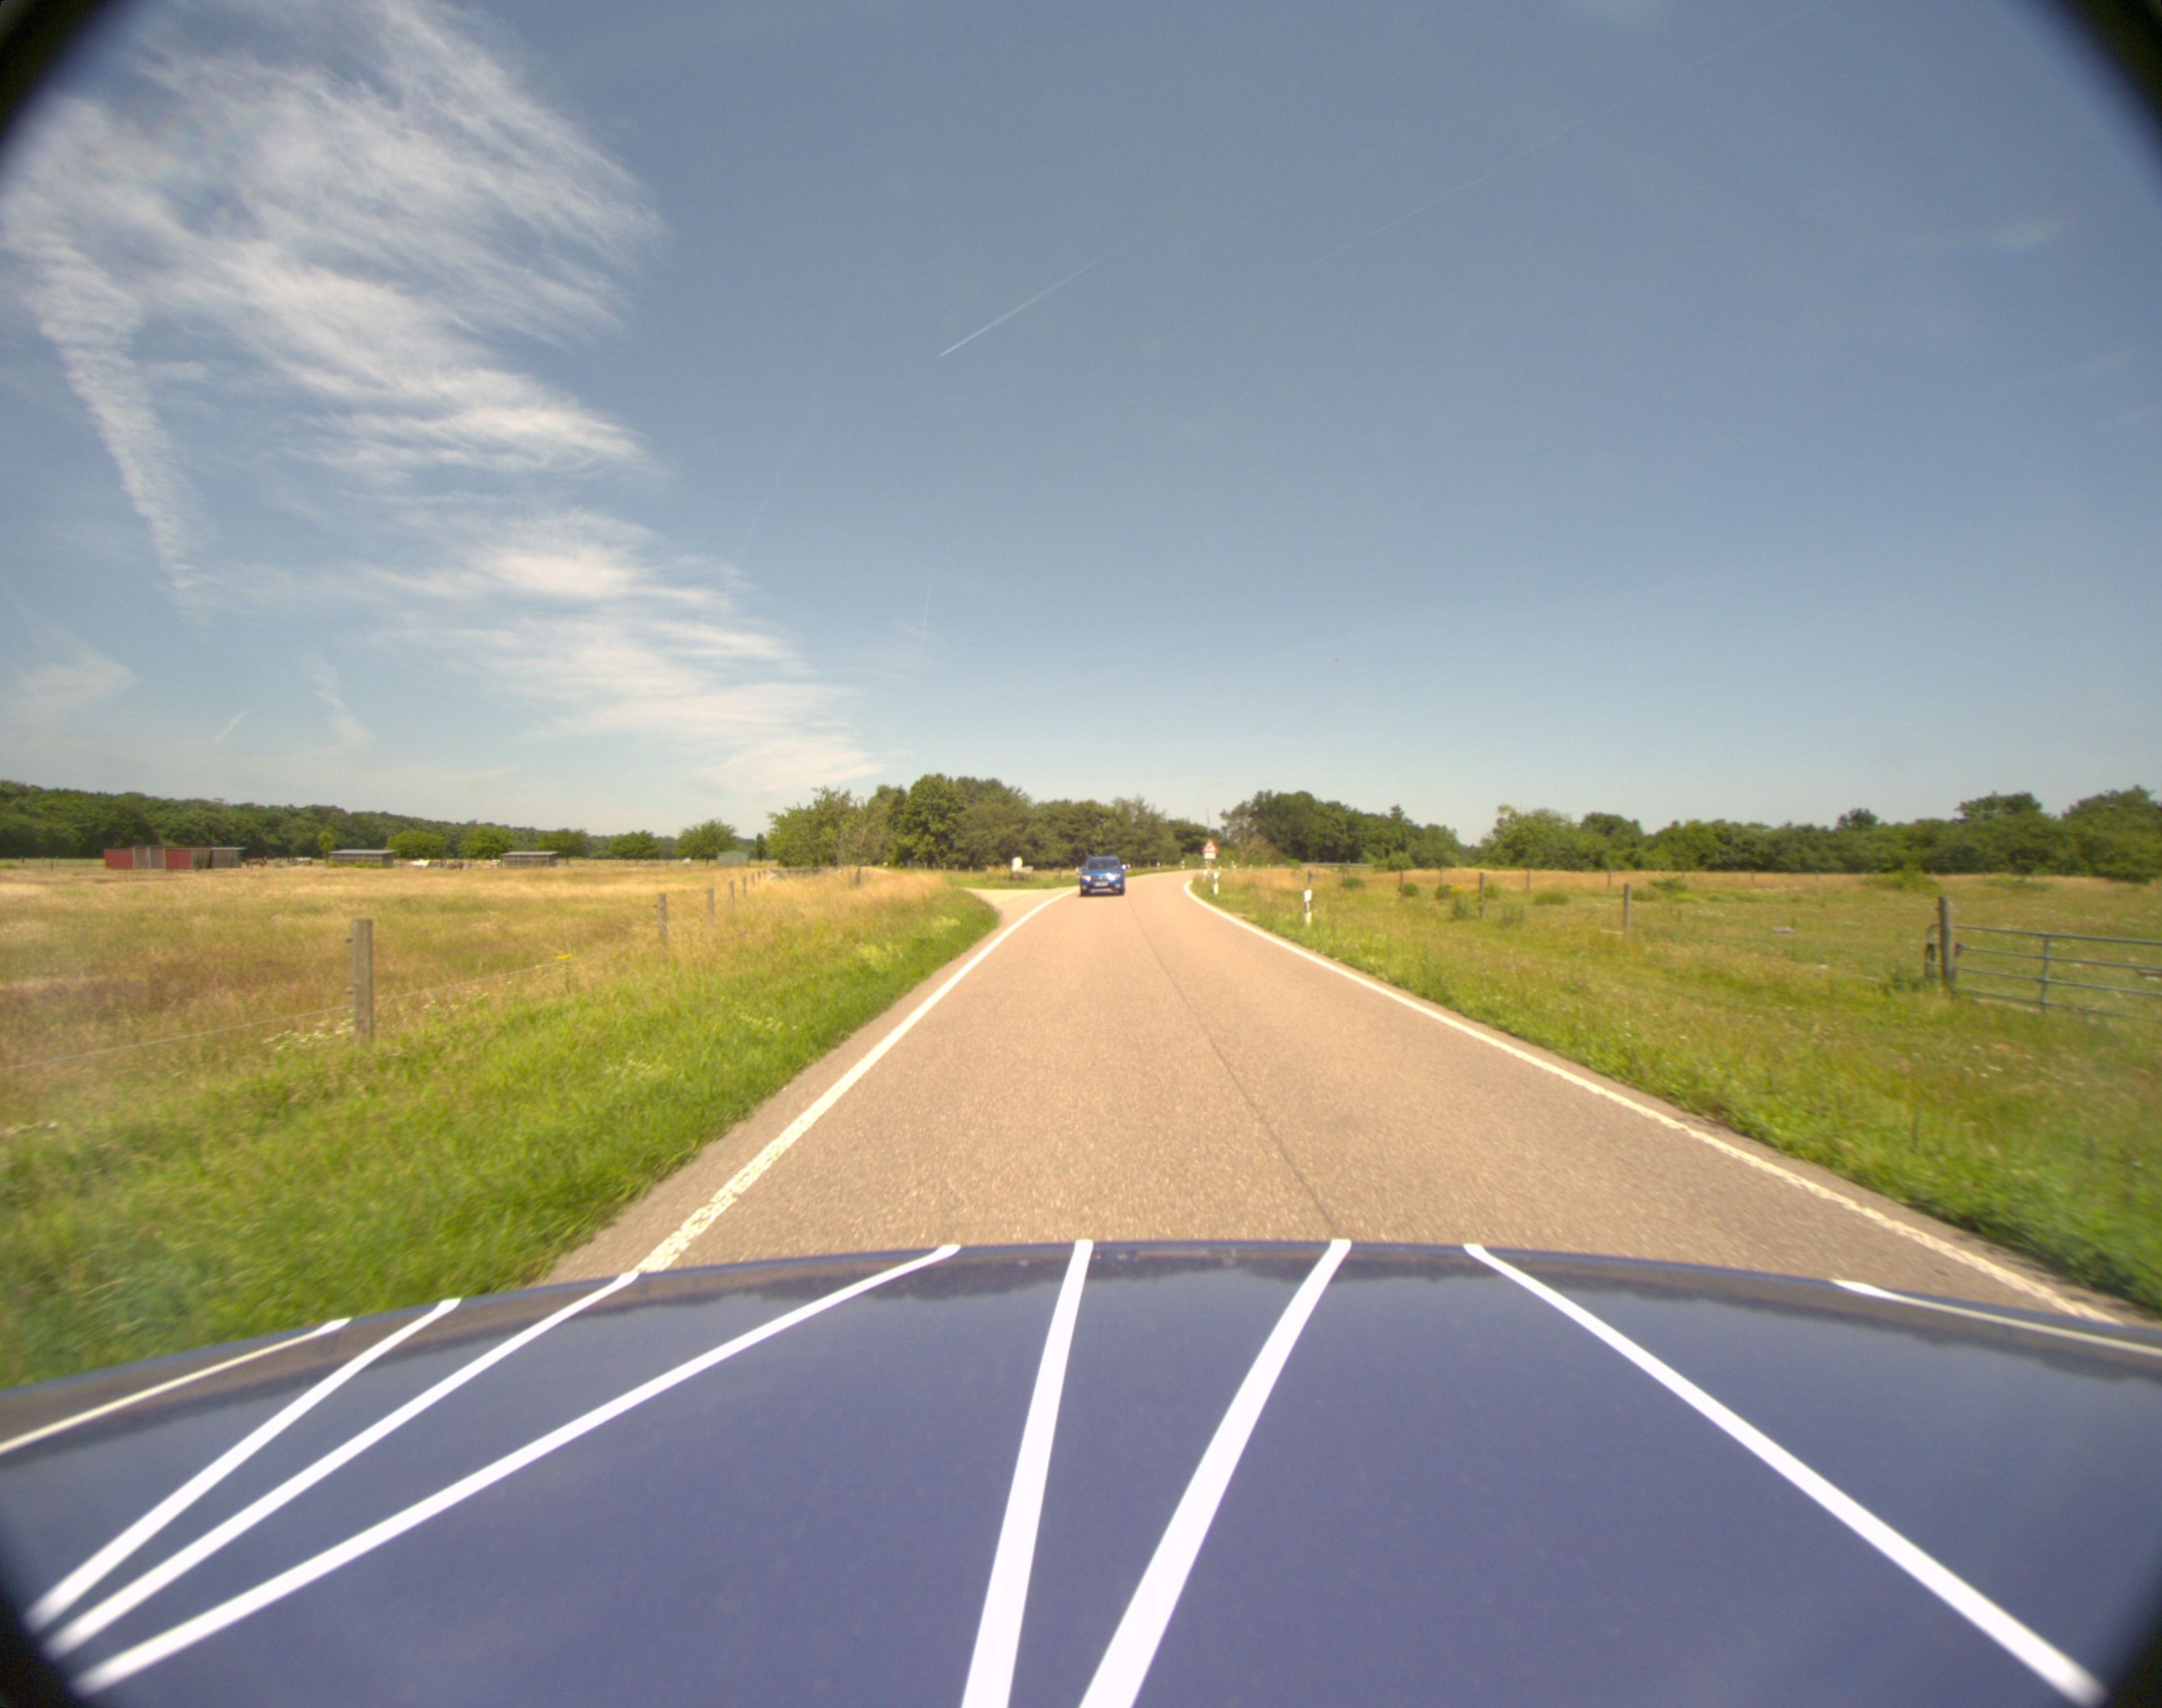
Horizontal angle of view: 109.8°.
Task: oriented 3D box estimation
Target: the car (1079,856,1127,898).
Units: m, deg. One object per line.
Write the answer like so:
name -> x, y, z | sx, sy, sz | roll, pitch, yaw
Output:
car -> 0.973, 0.875, 31.219 | 1.733, 1.572, 4.001 | -2, 0, 4
